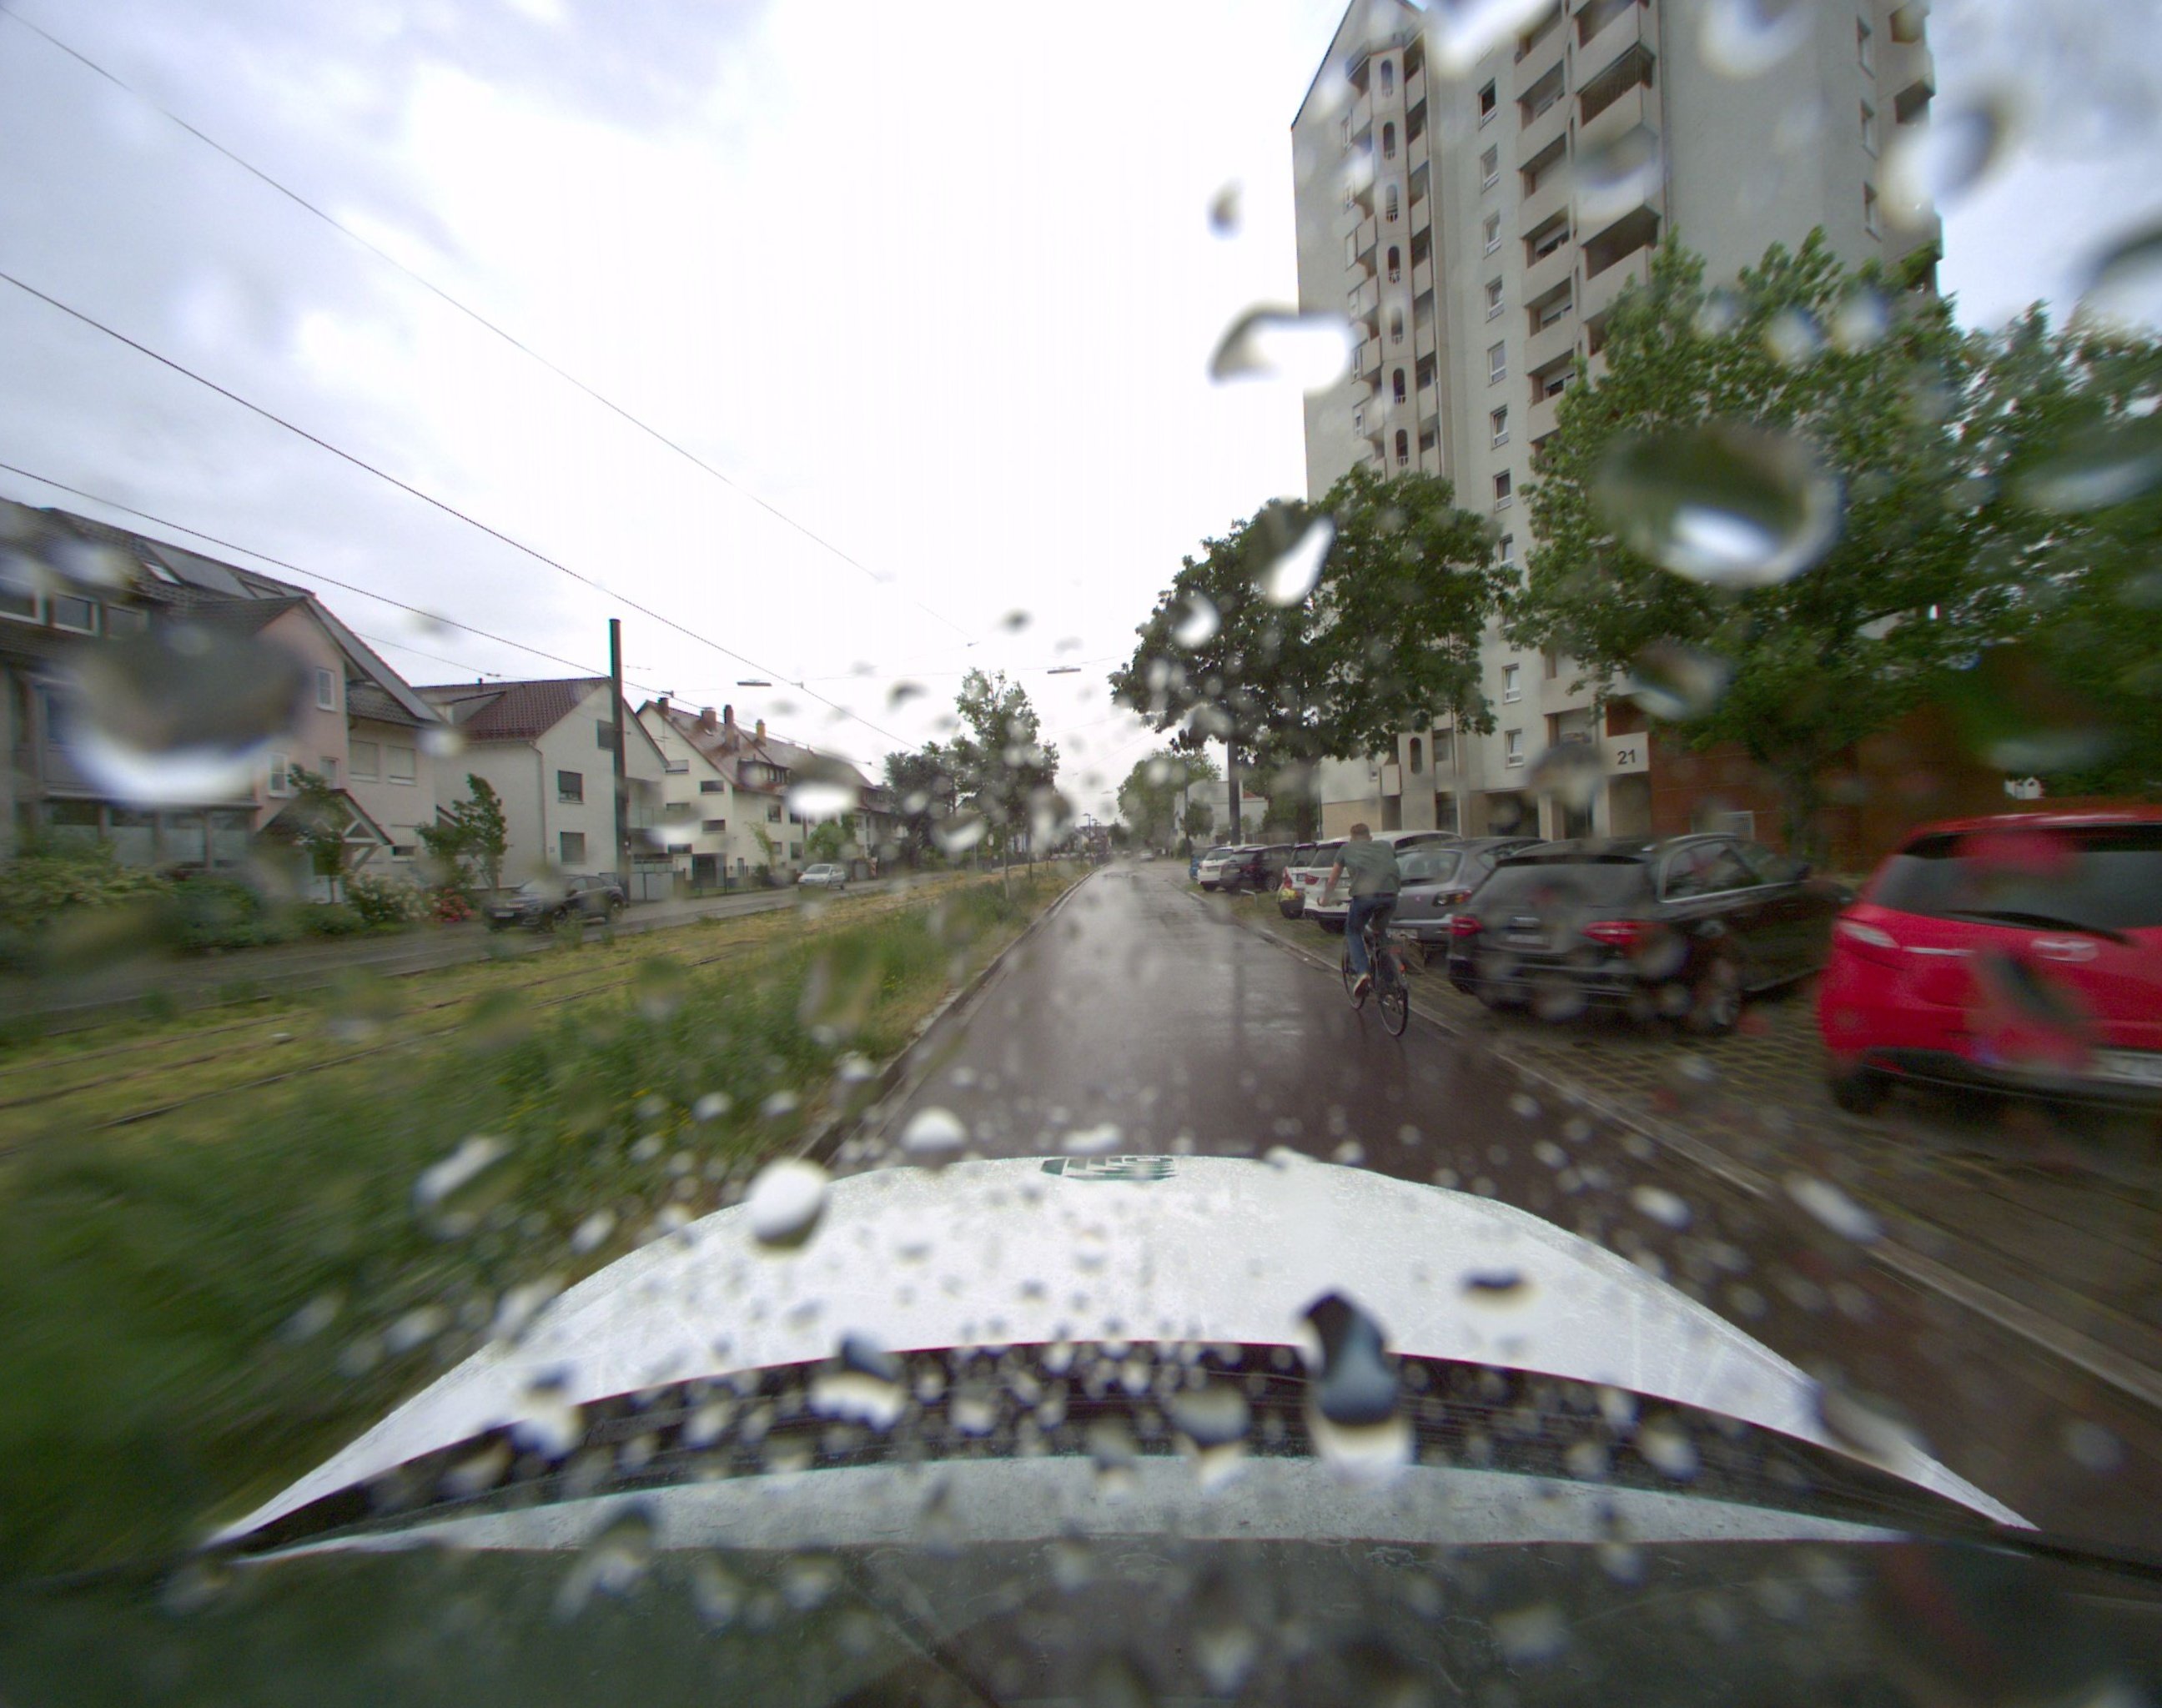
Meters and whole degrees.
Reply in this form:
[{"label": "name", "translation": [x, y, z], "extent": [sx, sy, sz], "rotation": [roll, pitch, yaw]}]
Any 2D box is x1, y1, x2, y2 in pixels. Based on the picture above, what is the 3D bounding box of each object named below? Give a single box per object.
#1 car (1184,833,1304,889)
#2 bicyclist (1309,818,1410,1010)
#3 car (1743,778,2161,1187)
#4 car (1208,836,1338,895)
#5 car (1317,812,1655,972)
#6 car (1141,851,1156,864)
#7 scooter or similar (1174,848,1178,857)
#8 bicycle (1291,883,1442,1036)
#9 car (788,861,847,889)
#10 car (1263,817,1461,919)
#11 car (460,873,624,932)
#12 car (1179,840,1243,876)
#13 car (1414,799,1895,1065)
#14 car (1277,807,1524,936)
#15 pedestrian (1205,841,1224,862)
[{"label": "car", "translation": [5.773, 0.231, 28.614], "extent": [4.207, 1.547, 1.745], "rotation": [-6, 2, -38]}, {"label": "bicyclist", "translation": [2.396, 0.497, 7.080], "extent": [0.533, 1.559, 0.771], "rotation": [-1, -1, -4]}, {"label": "car", "translation": [5.652, 0.376, 4.651], "extent": [4.482, 1.428, 1.790], "rotation": [-6, 2, -36]}, {"label": "car", "translation": [6.026, 0.336, 25.426], "extent": [3.962, 1.431, 1.666], "rotation": [-6, 1, -35]}, {"label": "car", "translation": [5.252, 0.352, 10.355], "extent": [4.478, 1.410, 1.750], "rotation": [-6, 1, -33]}, {"label": "car", "translation": [8.162, 0.415, 98.700], "extent": [1.642, 1.405, 4.655], "rotation": [-6, -1, 5]}, {"label": "scooter or similar", "translation": [11.272, -0.165, 96.730], "extent": [0.331, 1.085, 1.399], "rotation": [-2, -1, 10]}, {"label": "bicycle", "translation": [2.415, 0.833, 7.138], "extent": [0.535, 1.093, 1.946], "rotation": [-1, -1, -3]}, {"label": "car", "translation": [-14.563, 1.125, 45.216], "extent": [1.986, 1.414, 3.658], "rotation": [-1, -1, 1]}, {"label": "car", "translation": [5.947, 0.230, 17.032], "extent": [4.204, 1.671, 1.666], "rotation": [-6, 1, -35]}, {"label": "car", "translation": [-15.157, 1.317, 23.216], "extent": [1.830, 1.427, 4.175], "rotation": [-1, -1, 1]}, {"label": "car", "translation": [6.094, 0.180, 38.121], "extent": [2.577, 1.548, 1.585], "rotation": [-3, 0, -38]}, {"label": "car", "translation": [5.010, 0.423, 6.911], "extent": [4.477, 1.428, 1.667], "rotation": [-6, 1, -32]}, {"label": "car", "translation": [5.557, 0.202, 13.904], "extent": [4.483, 1.671, 1.792], "rotation": [-6, 2, -38]}, {"label": "pedestrian", "translation": [9.948, -0.206, 60.706], "extent": [0.840, 1.517, 1.085], "rotation": [-1, -1, -27]}]
